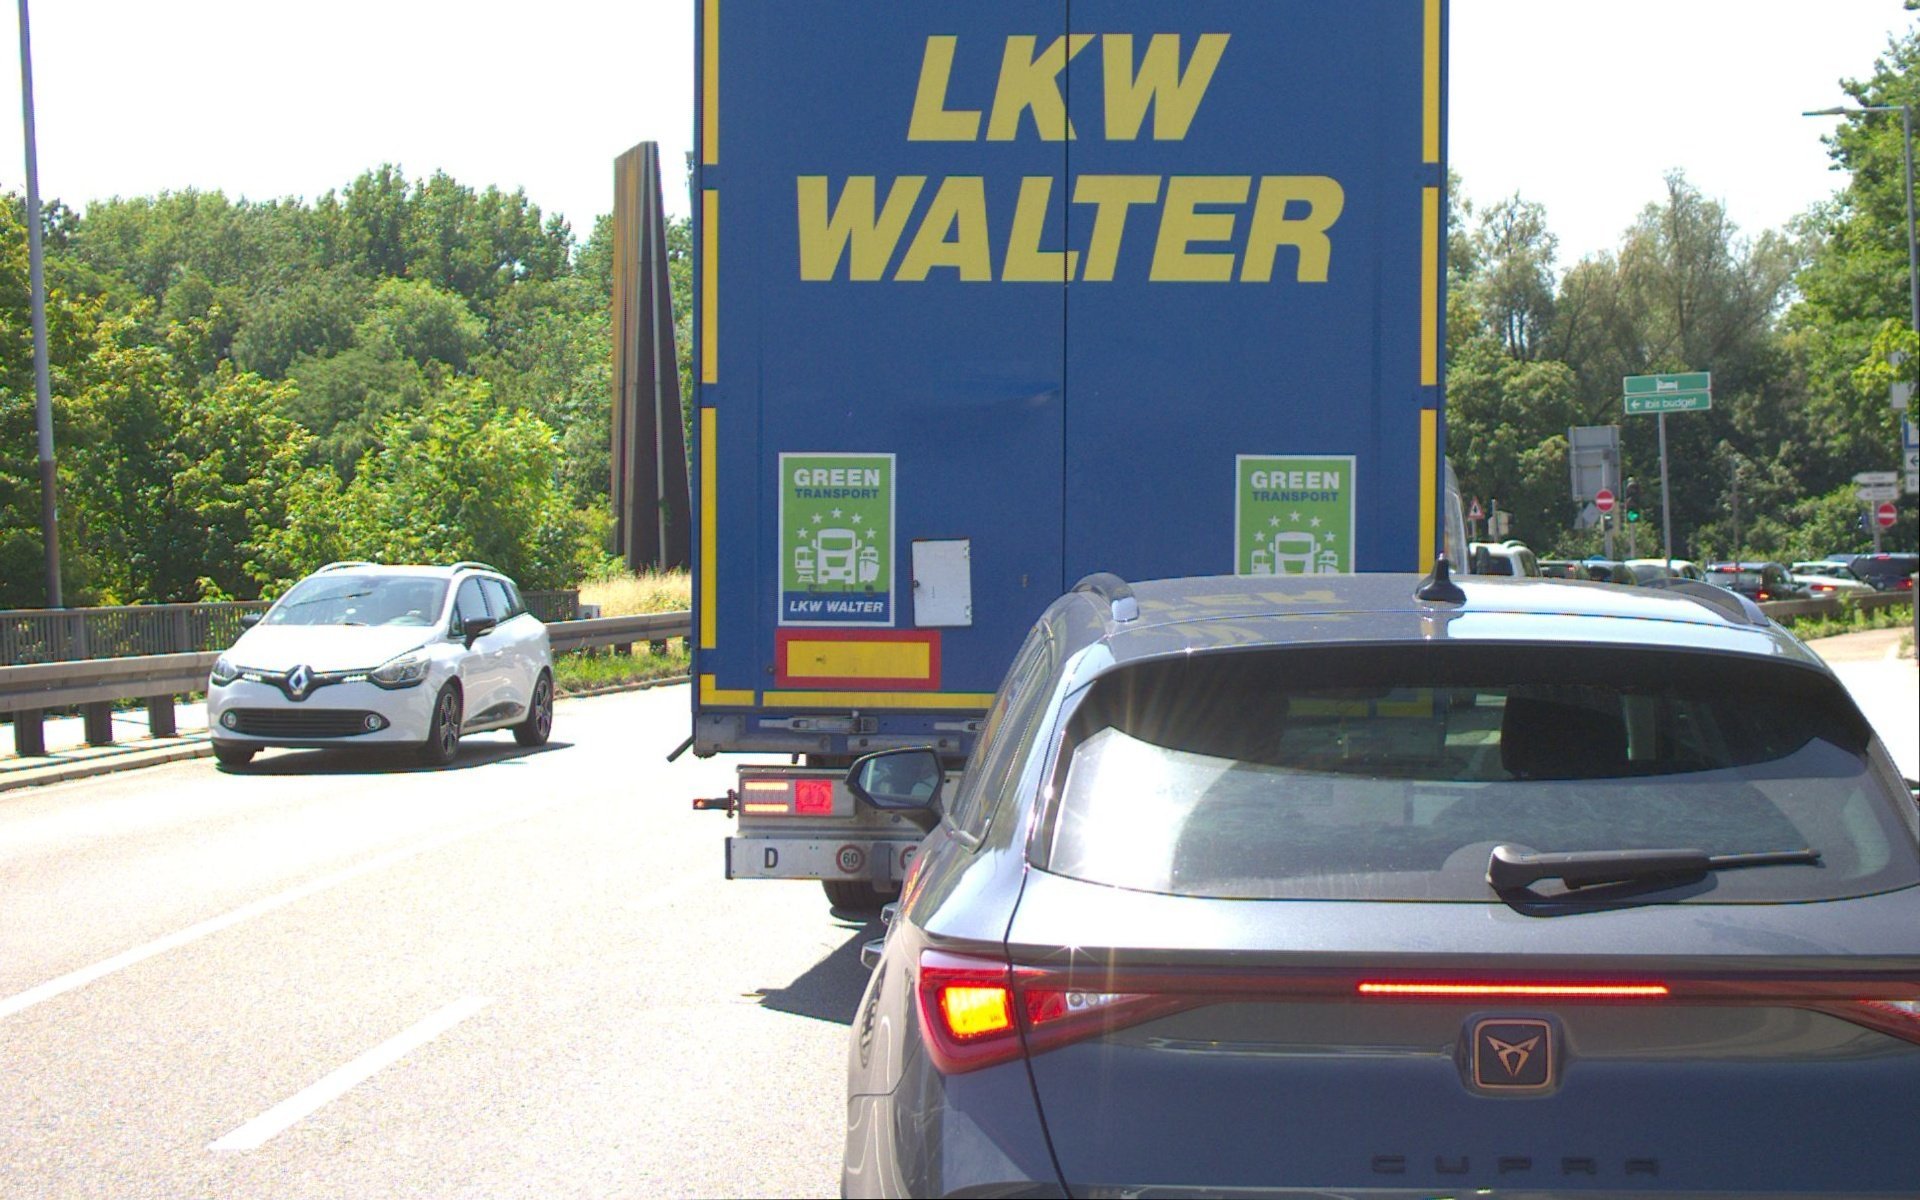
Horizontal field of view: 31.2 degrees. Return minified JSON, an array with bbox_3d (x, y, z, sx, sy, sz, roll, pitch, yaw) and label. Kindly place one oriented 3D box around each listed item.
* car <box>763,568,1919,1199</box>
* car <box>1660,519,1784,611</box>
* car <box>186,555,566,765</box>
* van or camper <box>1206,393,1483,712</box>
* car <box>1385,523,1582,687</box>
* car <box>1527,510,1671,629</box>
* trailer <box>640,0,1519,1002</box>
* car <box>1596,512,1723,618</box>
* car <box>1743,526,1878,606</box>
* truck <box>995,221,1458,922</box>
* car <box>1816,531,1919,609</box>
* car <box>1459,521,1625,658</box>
[{"bbox_3d":[0.673,0.683,5.912,1.677,1.451,3.958,0,1,2],"label":"car"},{"bbox_3d":[15.122,-0.683,68.140,1.687,1.754,3.995,0,0,23],"label":"car"},{"bbox_3d":[-4.282,0.390,25.819,1.600,1.444,4.054,0,1,9],"label":"car"},{"bbox_3d":[3.874,-0.482,33.600,2.155,2.806,6.384,0,1,11],"label":"van or camper"},{"bbox_3d":[6.285,0.013,40.983,1.722,1.837,3.997,0,2,18],"label":"car"},{"bbox_3d":[10.327,-0.516,55.402,1.722,1.837,3.996,0,1,19],"label":"car"},{"bbox_3d":[1.147,-1.014,17.543,2.905,4.403,12.430,0,1,7],"label":"trailer"},{"bbox_3d":[12.539,-0.651,61.489,1.722,1.837,3.996,0,1,19],"label":"car"},{"bbox_3d":[18.439,-0.727,74.404,1.996,1.570,3.994,2,0,26],"label":"car"},{"bbox_3d":[2.089,-0.245,25.035,2.905,4.403,6.554,0,1,7],"label":"truck"},{"bbox_3d":[21.361,-0.692,80.350,1.688,1.754,3.994,0,0,28],"label":"car"},{"bbox_3d":[8.047,-0.181,47.299,1.722,1.796,3.997,0,1,18],"label":"car"}]
